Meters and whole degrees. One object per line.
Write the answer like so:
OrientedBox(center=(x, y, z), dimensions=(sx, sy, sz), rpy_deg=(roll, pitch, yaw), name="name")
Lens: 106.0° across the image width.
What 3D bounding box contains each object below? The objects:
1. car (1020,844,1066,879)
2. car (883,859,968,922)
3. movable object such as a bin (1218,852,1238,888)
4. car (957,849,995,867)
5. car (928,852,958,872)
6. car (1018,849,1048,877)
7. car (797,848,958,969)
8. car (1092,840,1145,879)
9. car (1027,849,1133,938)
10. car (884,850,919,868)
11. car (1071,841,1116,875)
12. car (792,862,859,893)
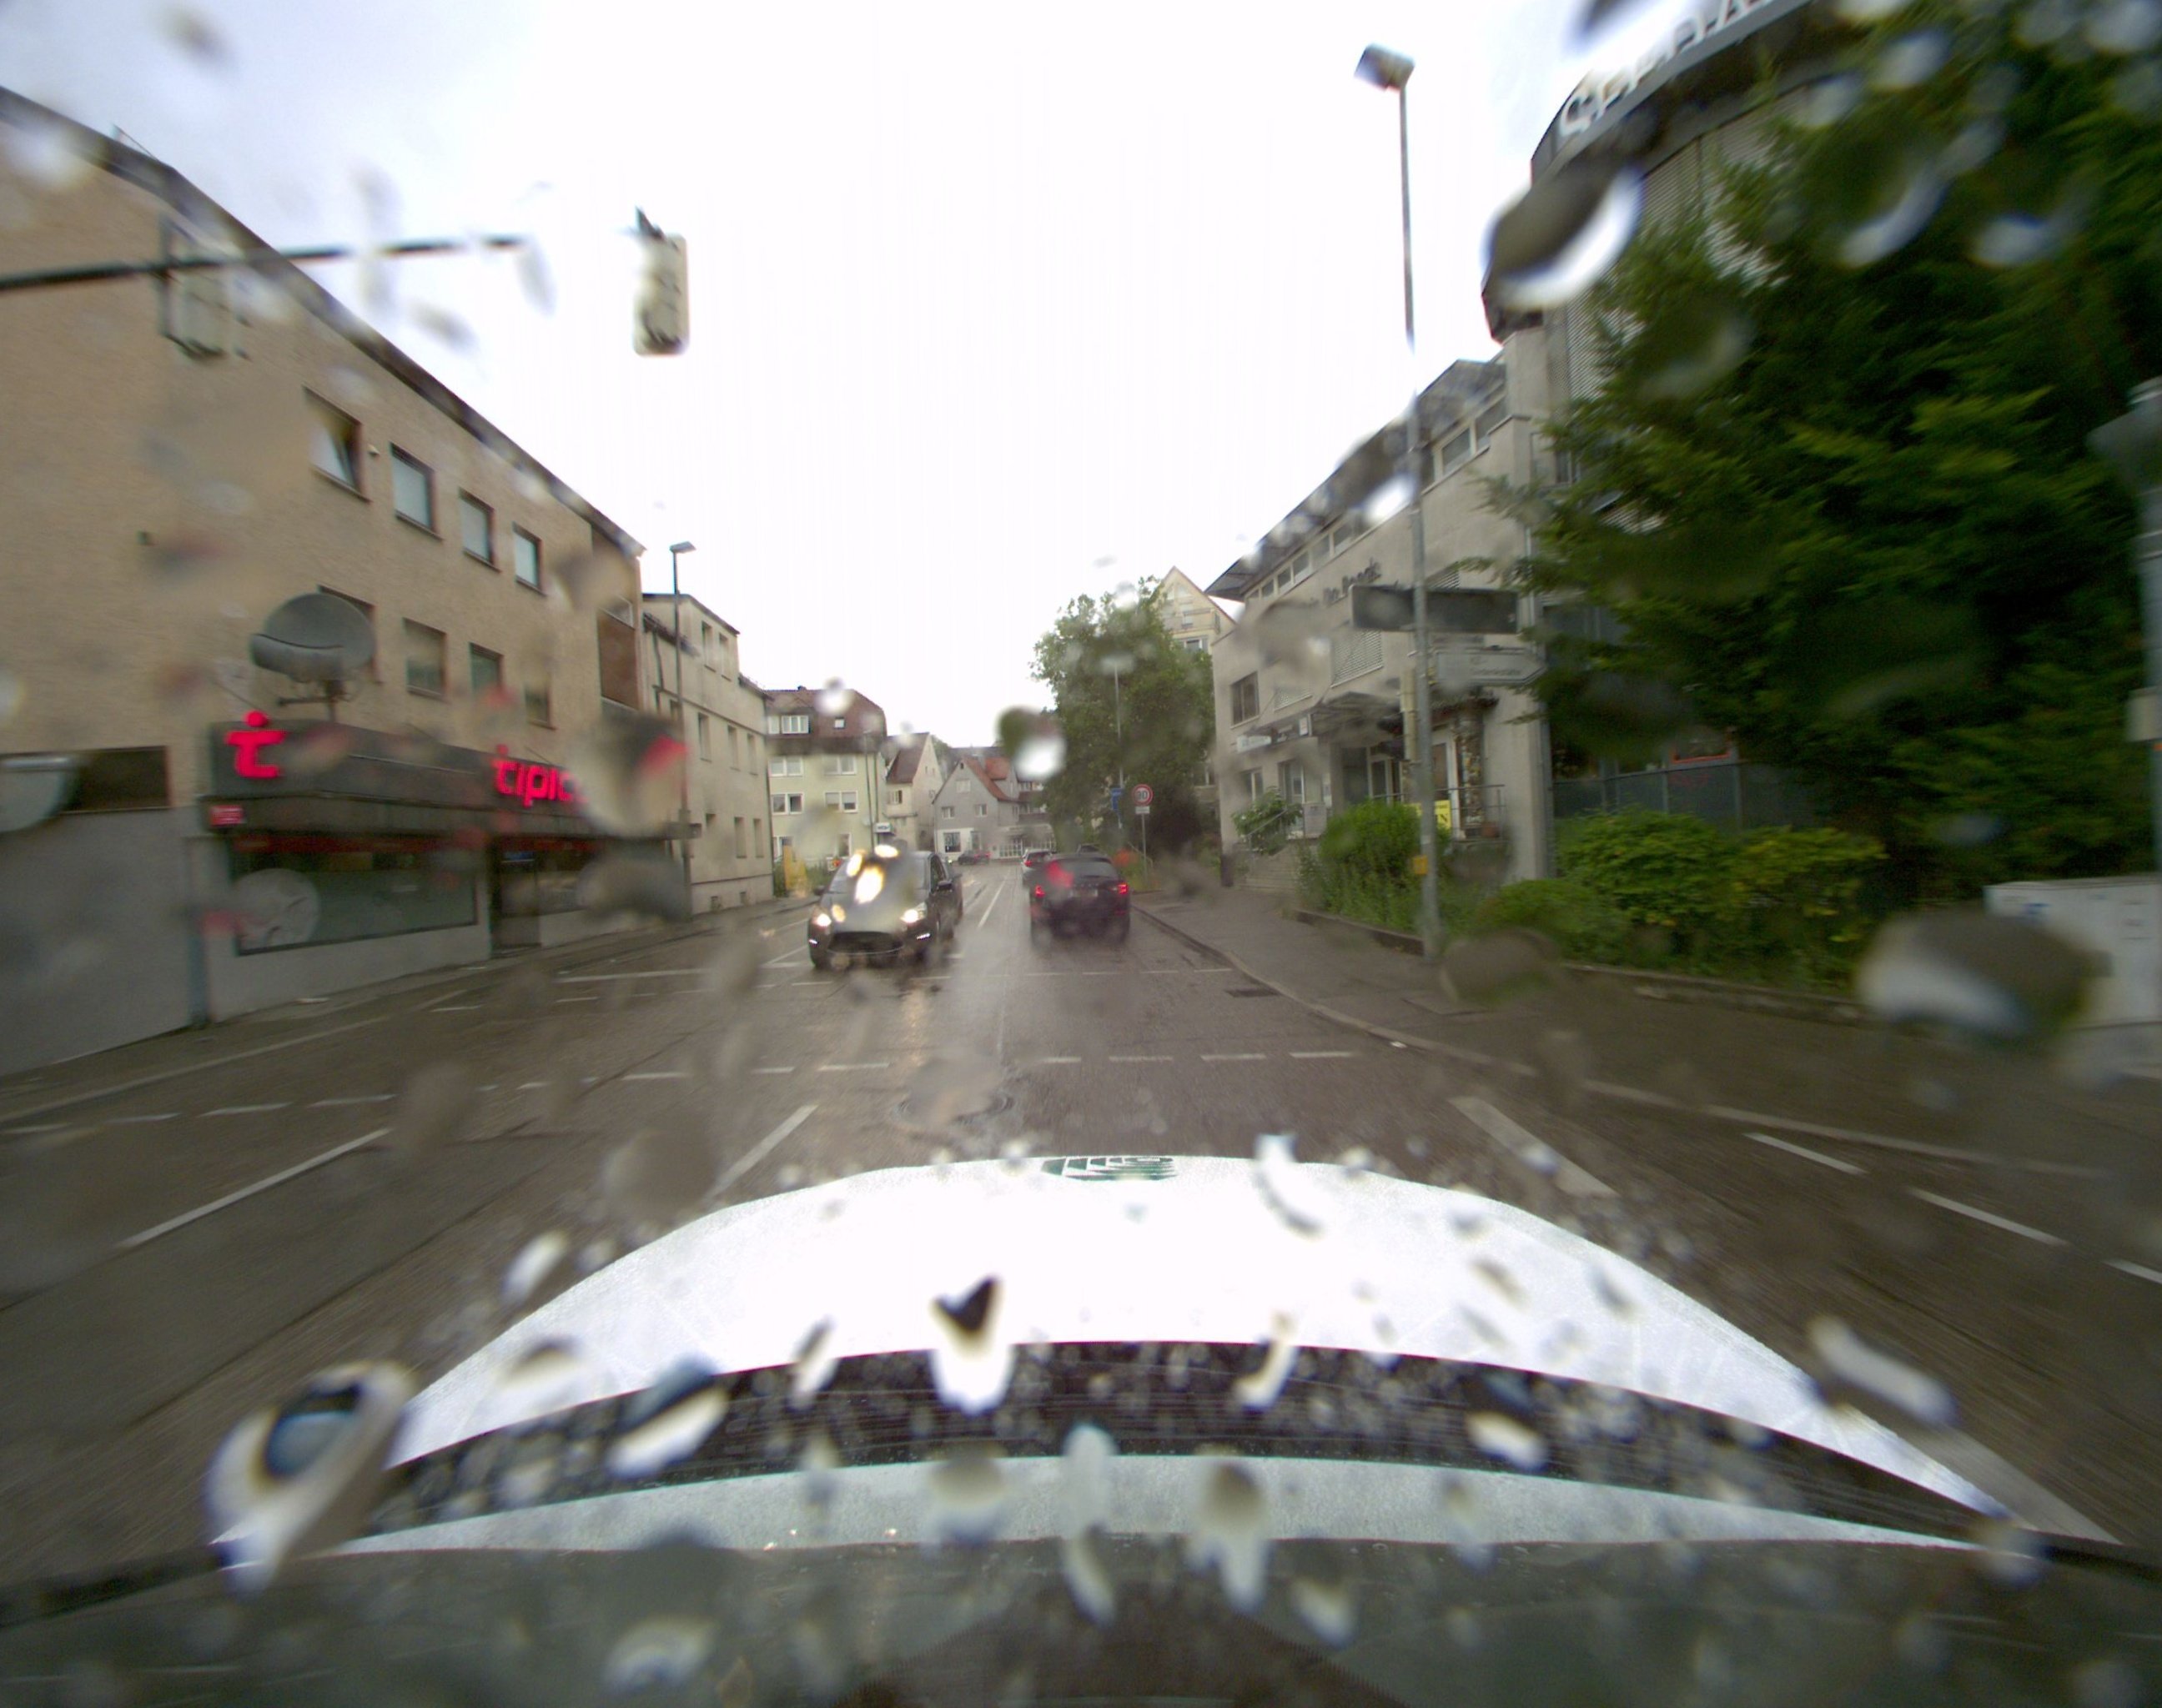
OrientedBox(center=(-1.619, 0.324, 35.094), dimensions=(1.813, 1.359, 3.986), rpy_deg=(-3, 0, -3), name="car")
OrientedBox(center=(-3.738, 0.822, 20.141), dimensions=(1.614, 1.334, 3.946), rpy_deg=(-2, 0, -5), name="car")
OrientedBox(center=(4.156, 0.439, 22.985), dimensions=(0.508, 0.945, 0.605), rpy_deg=(0, 4, 14), name="movable object such as a bin")
OrientedBox(center=(-10.381, 0.391, 80.662), dimensions=(1.909, 1.590, 3.643), rpy_deg=(-3, -1, -42), name="car")
OrientedBox(center=(-12.121, 0.724, 71.405), dimensions=(1.666, 1.571, 3.968), rpy_deg=(-3, -1, -23), name="car")
OrientedBox(center=(-3.018, 0.615, 51.699), dimensions=(1.723, 1.591, 4.179), rpy_deg=(-1, -3, -2), name="car")
OrientedBox(center=(-3.051, 0.721, 13.126), dimensions=(1.781, 1.562, 4.394), rpy_deg=(-2, 0, -5), name="car")
OrientedBox(center=(1.729, 0.247, 38.406), dimensions=(1.850, 1.641, 3.530), rpy_deg=(-4, 0, -7), name="car")
OrientedBox(center=(-0.092, 0.667, 15.735), dimensions=(1.777, 1.483, 4.242), rpy_deg=(0, 0, -2), name="car")
OrientedBox(center=(-19.499, 0.558, 88.516), dimensions=(3.641, 1.682, 1.911), rpy_deg=(-4, -1, 43), name="car")
OrientedBox(center=(0.645, 0.223, 44.282), dimensions=(1.850, 1.641, 3.862), rpy_deg=(-4, 0, -7), name="car")
OrientedBox(center=(-16.837, 1.532, 53.875), dimensions=(4.018, 1.386, 1.784), rpy_deg=(-9, 4, -16), name="car")
